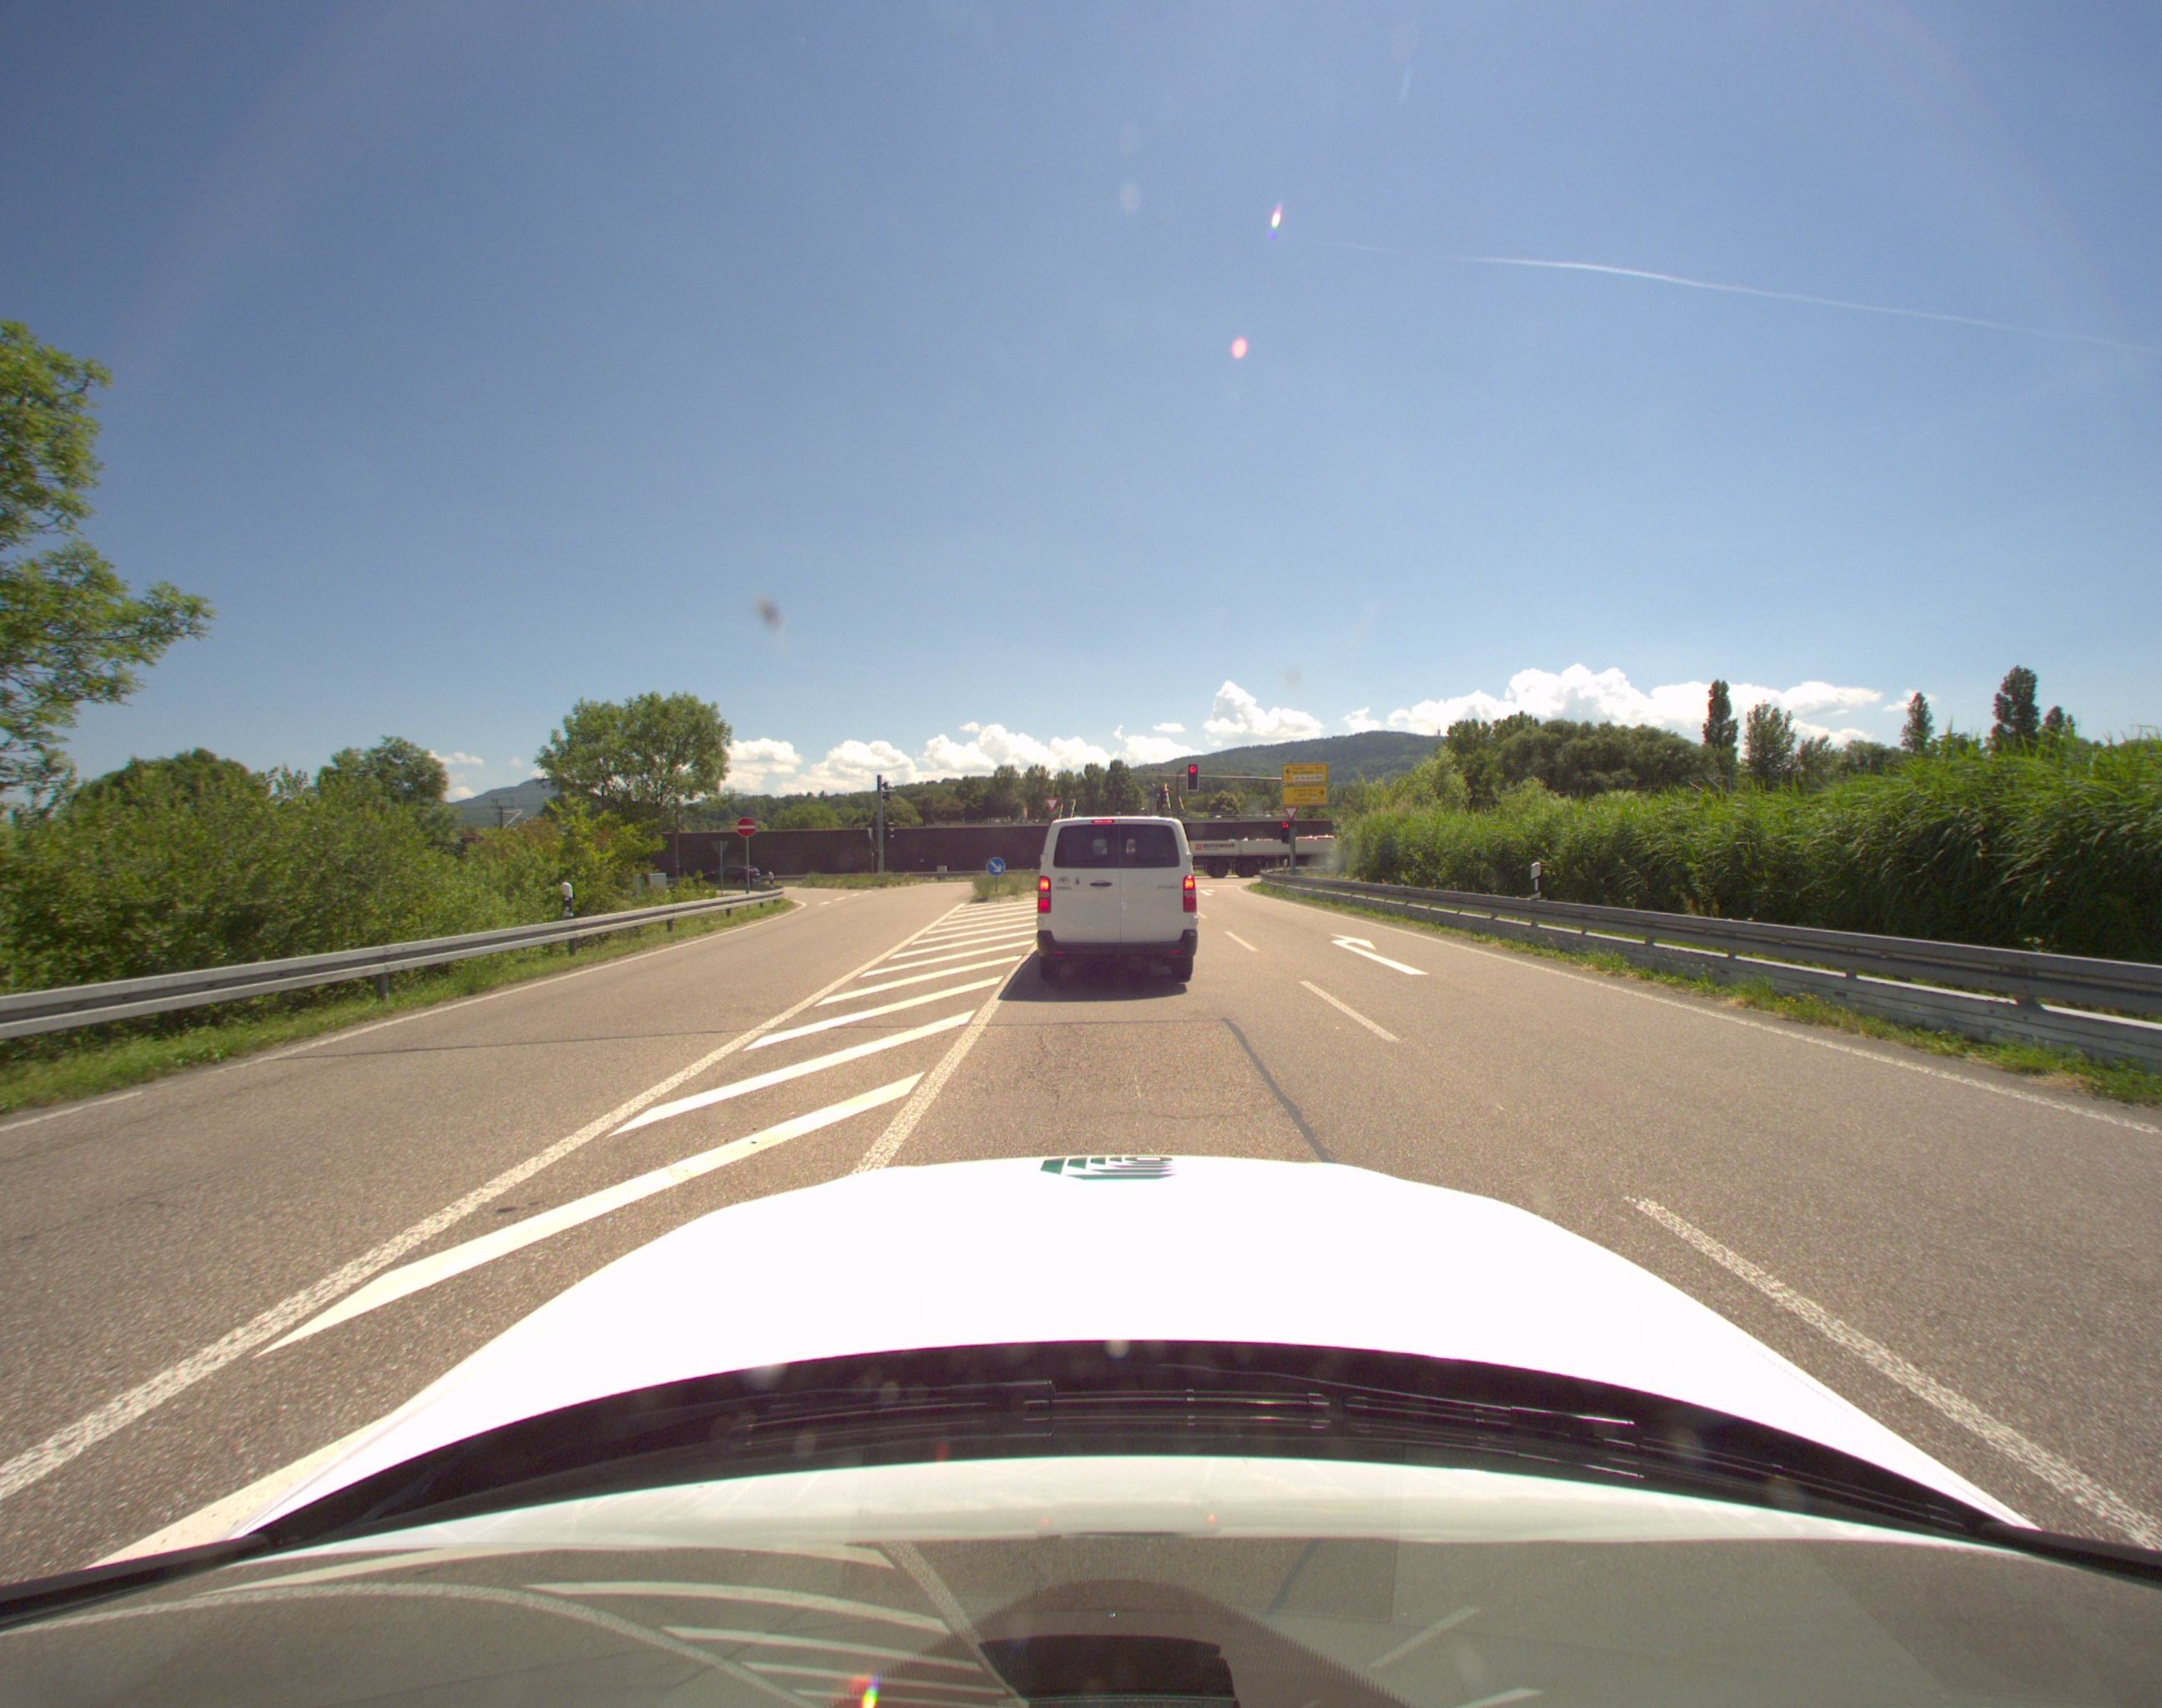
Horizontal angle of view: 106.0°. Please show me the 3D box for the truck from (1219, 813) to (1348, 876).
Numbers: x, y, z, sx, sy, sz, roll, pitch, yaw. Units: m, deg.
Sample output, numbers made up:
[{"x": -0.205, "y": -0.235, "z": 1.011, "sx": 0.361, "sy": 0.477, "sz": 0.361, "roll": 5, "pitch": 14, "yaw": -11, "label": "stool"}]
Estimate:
[{"x": 12.497, "y": -0.600, "z": 50.659, "sx": 7.383, "sy": 3.504, "sz": 2.232, "roll": -3, "pitch": 1, "yaw": -1, "label": "truck"}]

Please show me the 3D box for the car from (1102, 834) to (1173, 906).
[{"x": 1.731, "y": 0.481, "z": 25.832, "sx": 1.986, "sy": 2.013, "sz": 4.002, "roll": -3, "pitch": 0, "yaw": 2, "label": "car"}]

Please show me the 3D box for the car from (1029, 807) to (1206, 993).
[{"x": 0.442, "y": 0.497, "z": 10.687, "sx": 1.863, "sy": 1.964, "sz": 4.001, "roll": -1, "pitch": 0, "yaw": 1, "label": "car"}]

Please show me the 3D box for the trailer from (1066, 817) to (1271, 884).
[{"x": 5.314, "y": -0.226, "z": 50.492, "sx": 12.285, "sy": 3.504, "sz": 2.232, "roll": -3, "pitch": 1, "yaw": -1, "label": "trailer"}]

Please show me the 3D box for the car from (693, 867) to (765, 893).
[{"x": -24.822, "y": 1.818, "z": 57.572, "sx": 4.085, "sy": 1.474, "sz": 1.949, "roll": -4, "pitch": 1, "yaw": -1, "label": "car"}]
